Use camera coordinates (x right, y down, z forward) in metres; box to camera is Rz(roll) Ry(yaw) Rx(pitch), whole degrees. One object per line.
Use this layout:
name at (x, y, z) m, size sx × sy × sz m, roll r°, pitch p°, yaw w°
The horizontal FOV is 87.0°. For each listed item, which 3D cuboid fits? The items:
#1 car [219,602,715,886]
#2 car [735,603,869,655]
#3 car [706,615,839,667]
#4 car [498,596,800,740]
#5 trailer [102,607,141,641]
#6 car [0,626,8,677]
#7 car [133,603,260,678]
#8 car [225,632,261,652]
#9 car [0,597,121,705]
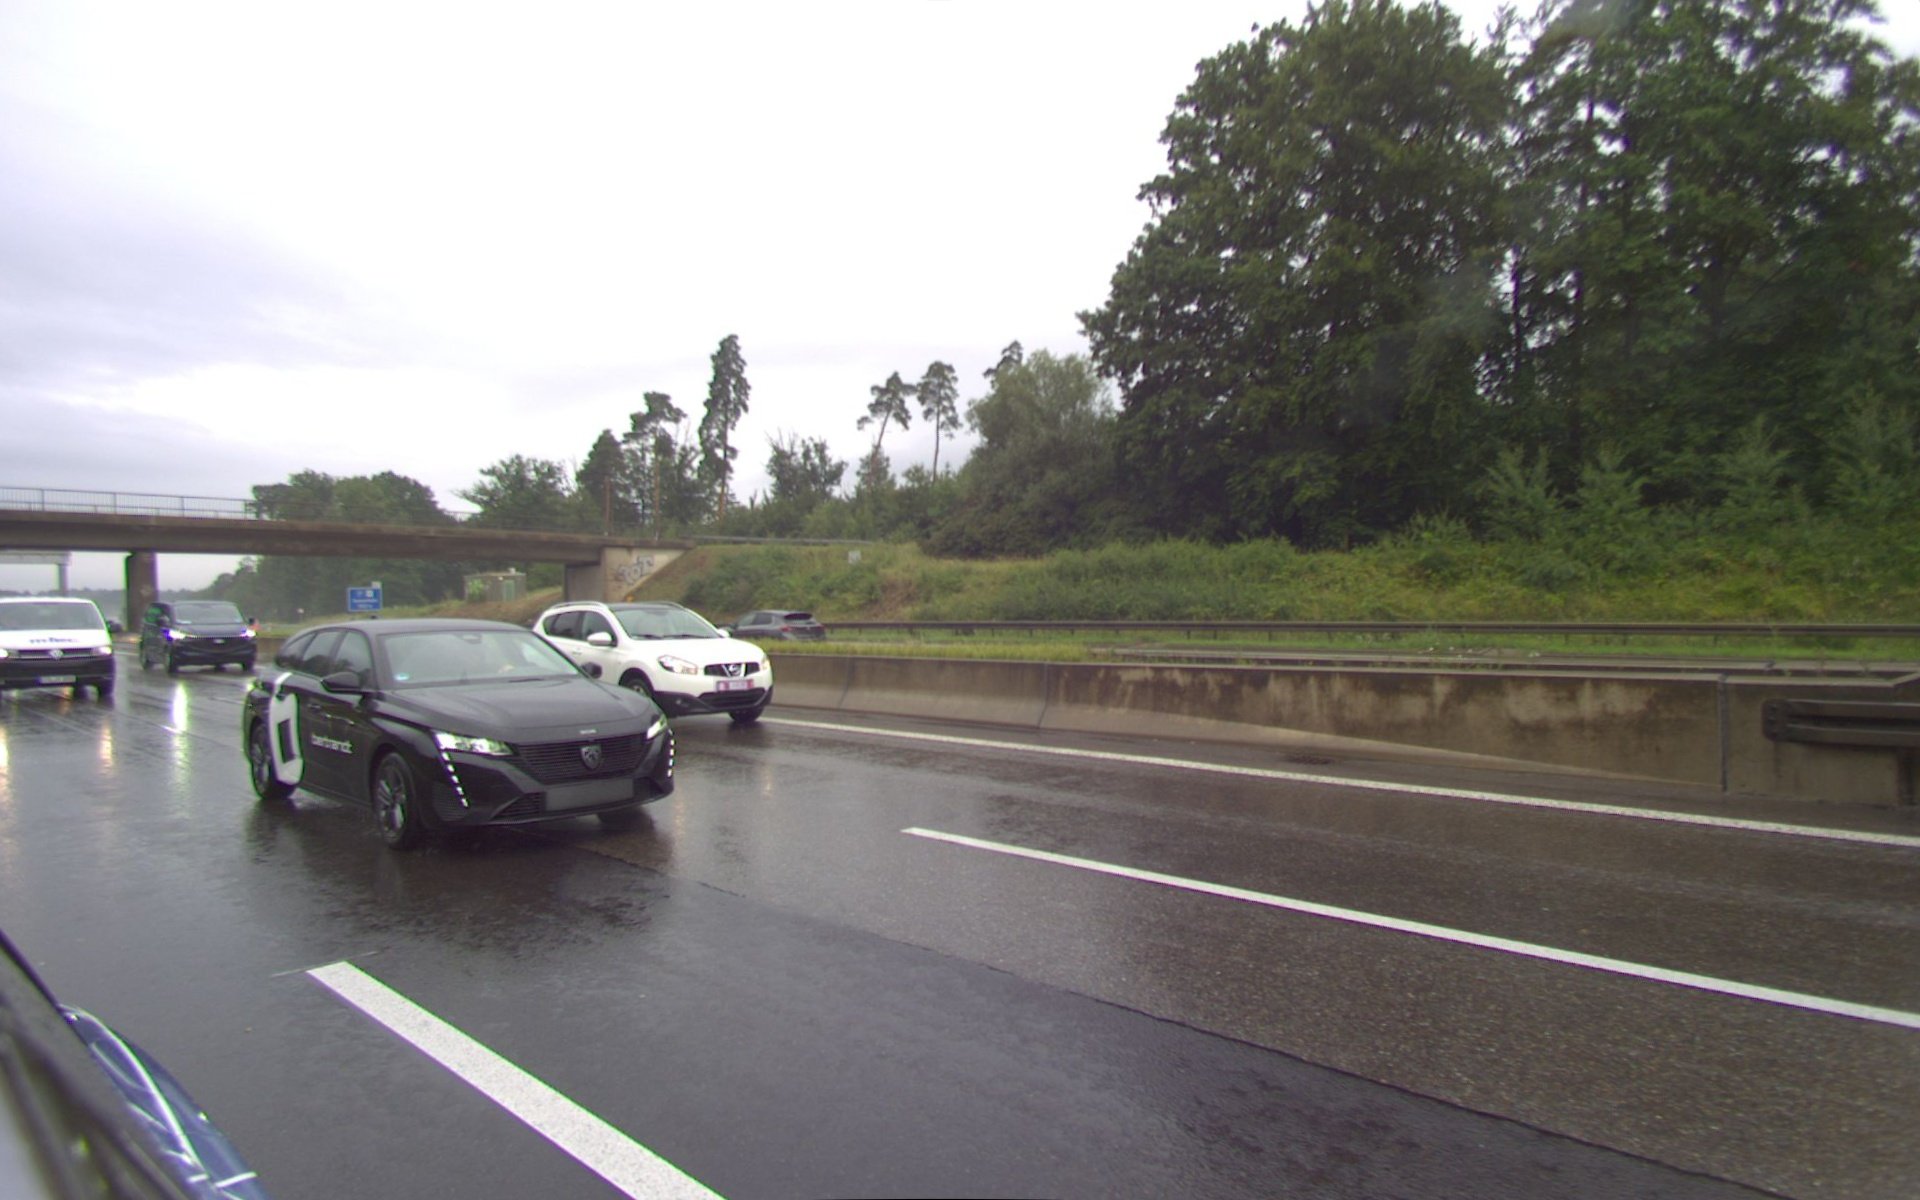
car at (-3.917, 0.816, 7.631) m, size 4.465 × 1.516 × 1.826 m, roll -2°, pitch -1°, yaw 42°
car at (-4.473, 0.803, 28.421) m, size 3.674 × 1.355 × 1.783 m, roll -2°, pitch -1°, yaw 41°
car at (-5.498, 1.162, 29.440) m, size 3.949 × 1.401 × 1.699 m, roll -1°, pitch -1°, yaw 40°
car at (-4.268, 0.802, 13.492) m, size 4.465 × 1.603 × 1.826 m, roll -2°, pitch -1°, yaw 42°
trailer at (-125.446, 3.545, 151.381) m, size 13.351 × 4.850 × 3.169 m, roll -2°, pitch -1°, yaw 45°
car at (-31.155, 1.591, 31.541) m, size 4.465 × 1.516 × 1.826 m, roll -1°, pitch -1°, yaw 42°
car at (-21.730, 1.084, 28.716) m, size 5.242 × 1.959 × 1.970 m, roll -1°, pitch -1°, yaw 42°
car at (-63.049, 3.658, 88.979) m, size 3.943 × 1.603 × 1.826 m, roll -2°, pitch -1°, yaw 42°
car at (-18.166, 0.934, 19.858) m, size 4.766 × 1.894 × 1.969 m, roll -2°, pitch -1°, yaw 42°
